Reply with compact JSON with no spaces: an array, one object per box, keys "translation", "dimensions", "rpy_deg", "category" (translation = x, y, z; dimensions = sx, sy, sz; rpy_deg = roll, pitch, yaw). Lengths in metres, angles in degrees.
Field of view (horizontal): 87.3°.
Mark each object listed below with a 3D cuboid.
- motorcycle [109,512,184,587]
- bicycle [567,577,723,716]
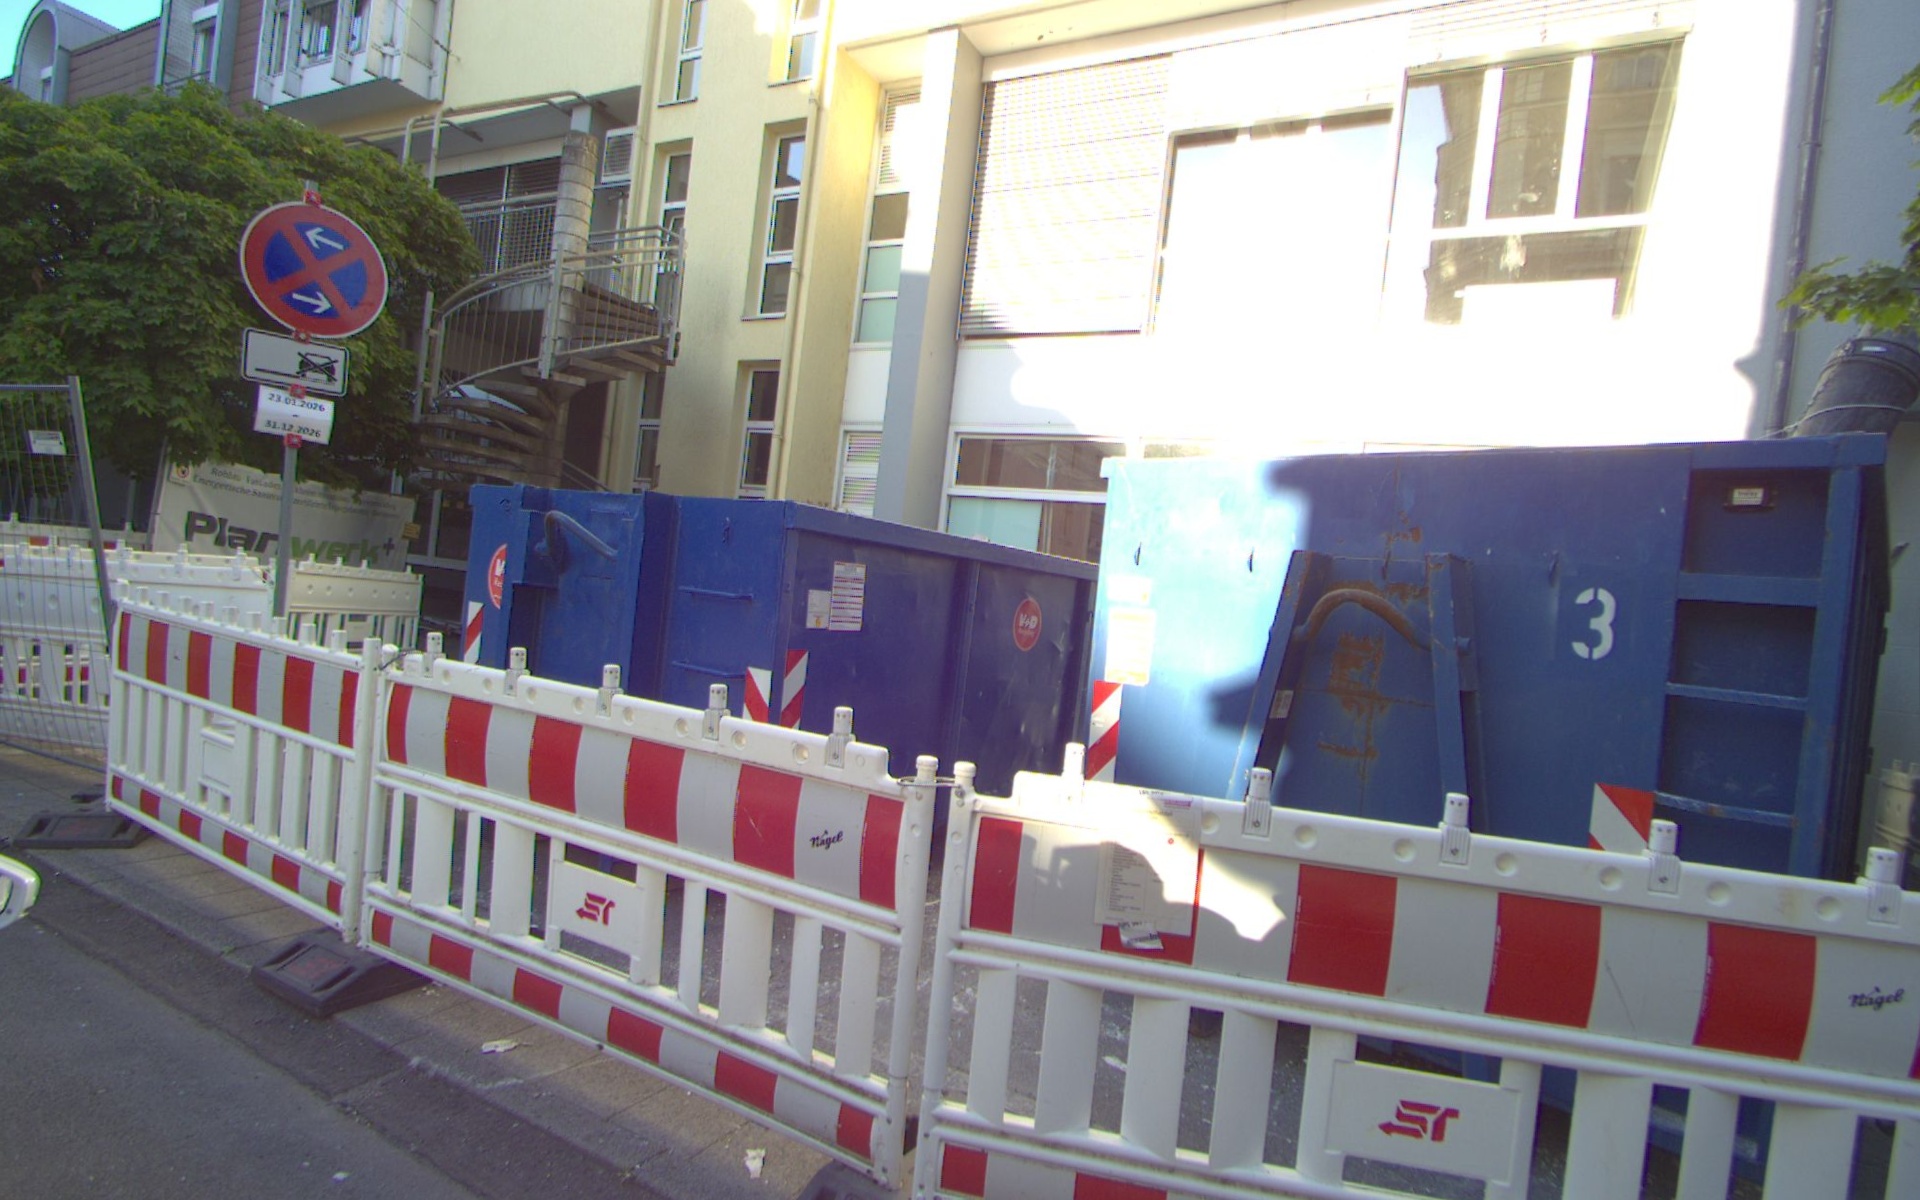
[{"translation":[-15.247,-0.961,18.828],"dimensions":[0.866,1.237,2.428],"rpy_deg":[6,0,-43],"category":"motorcycle"},{"translation":[-3.217,0.505,10.446],"dimensions":[0.539,1.282,1.652],"rpy_deg":[7,-2,18],"category":"bicycle"}]
